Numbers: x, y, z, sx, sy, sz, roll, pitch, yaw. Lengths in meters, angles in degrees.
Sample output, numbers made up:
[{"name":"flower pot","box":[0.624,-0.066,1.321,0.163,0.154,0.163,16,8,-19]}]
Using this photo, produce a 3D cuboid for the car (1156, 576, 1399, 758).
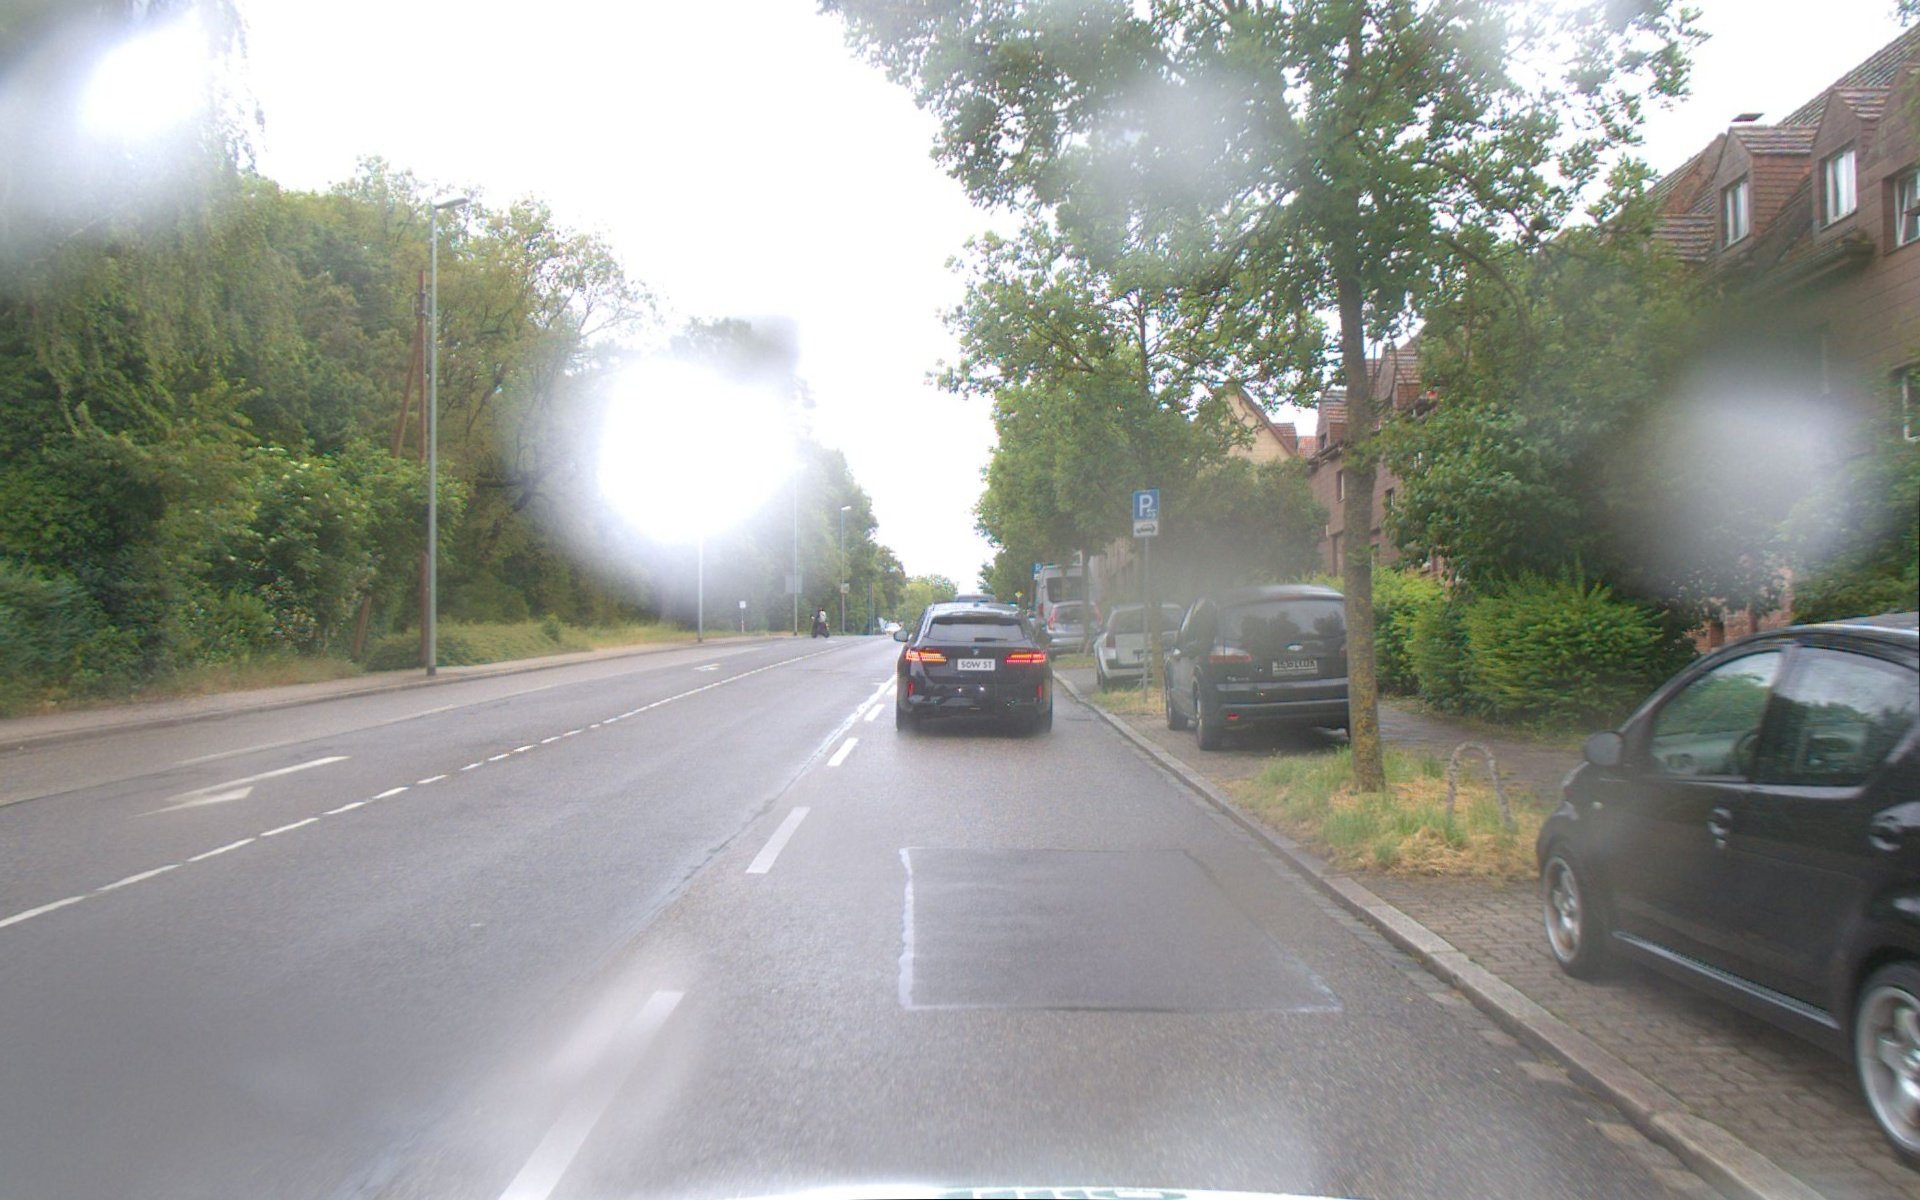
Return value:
[{"name":"car","box":[3.378,0.668,18.462,1.787,1.707,4.584,-2,0,0]}]

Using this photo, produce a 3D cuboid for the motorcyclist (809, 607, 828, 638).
[{"name":"motorcyclist","box":[-7.830,1.265,91.440,0.640,1.710,0.807,0,-1,44]}]

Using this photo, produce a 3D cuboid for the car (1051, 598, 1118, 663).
[{"name":"car","box":[3.308,0.803,44.360,1.634,1.555,3.833,-3,-1,3]}]

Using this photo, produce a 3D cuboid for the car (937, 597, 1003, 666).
[{"name":"car","box":[0.351,0.980,50.807,1.952,2.049,4.000,0,-1,1]}]

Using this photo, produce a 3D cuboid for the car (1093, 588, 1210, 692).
[{"name":"car","box":[3.323,0.666,29.364,1.786,1.631,4.475,-2,0,4]}]

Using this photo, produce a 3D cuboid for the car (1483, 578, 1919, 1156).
[{"name":"car","box":[3.359,0.700,5.835,1.687,1.538,3.784,-2,0,-2]}]

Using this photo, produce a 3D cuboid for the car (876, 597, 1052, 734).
[{"name":"car","box":[0.028,0.784,20.834,1.953,1.478,3.999,2,-1,-1]}]

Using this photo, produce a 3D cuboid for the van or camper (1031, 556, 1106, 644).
[{"name":"van or camper","box":[3.616,0.018,56.229,2.152,2.697,7.302,-2,0,1]}]

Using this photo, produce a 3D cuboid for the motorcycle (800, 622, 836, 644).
[{"name":"motorcycle","box":[-7.867,1.812,91.475,2.152,1.137,0.818,0,-1,45]}]

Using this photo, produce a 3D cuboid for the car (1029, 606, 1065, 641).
[{"name":"car","box":[4.411,1.199,84.300,1.667,1.612,4.644,-4,0,2]}]
